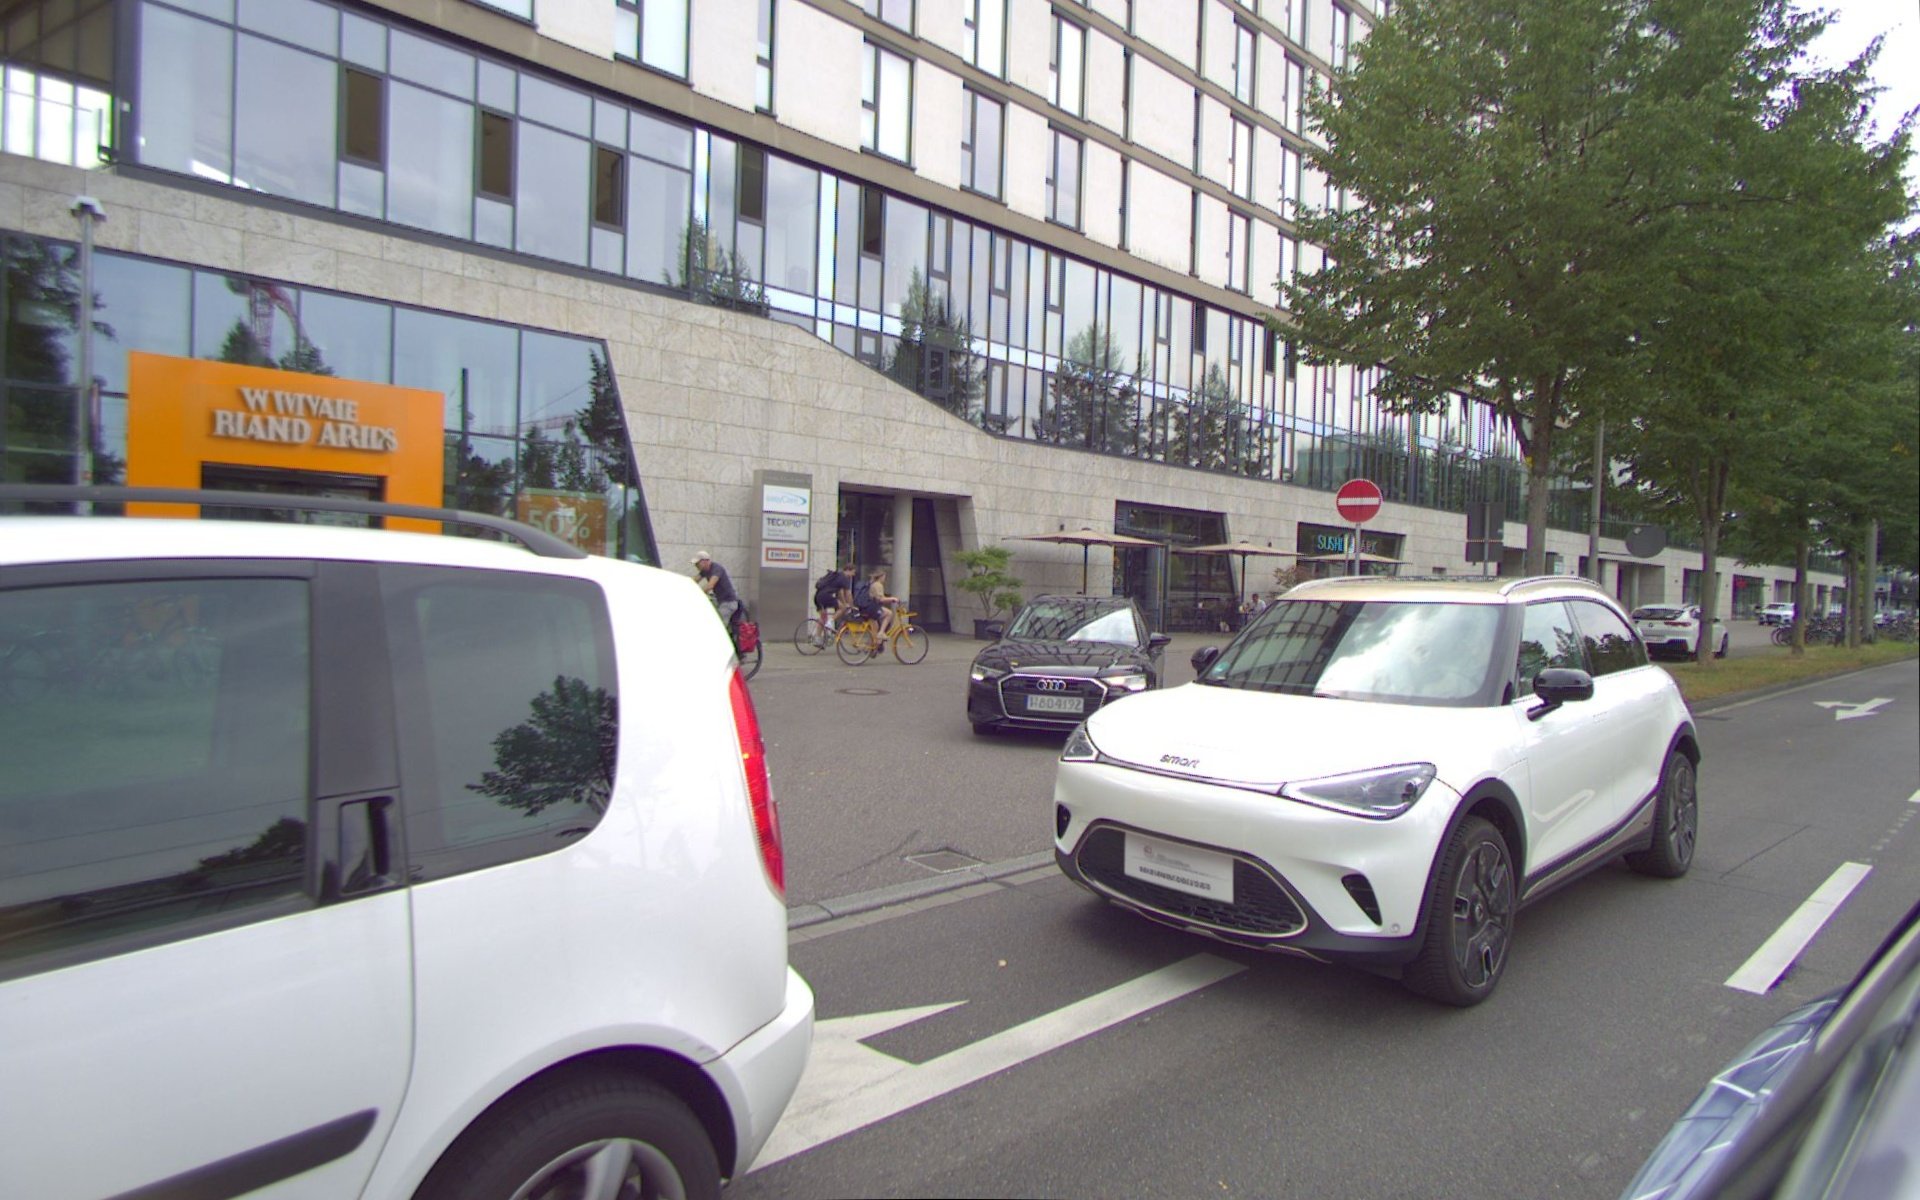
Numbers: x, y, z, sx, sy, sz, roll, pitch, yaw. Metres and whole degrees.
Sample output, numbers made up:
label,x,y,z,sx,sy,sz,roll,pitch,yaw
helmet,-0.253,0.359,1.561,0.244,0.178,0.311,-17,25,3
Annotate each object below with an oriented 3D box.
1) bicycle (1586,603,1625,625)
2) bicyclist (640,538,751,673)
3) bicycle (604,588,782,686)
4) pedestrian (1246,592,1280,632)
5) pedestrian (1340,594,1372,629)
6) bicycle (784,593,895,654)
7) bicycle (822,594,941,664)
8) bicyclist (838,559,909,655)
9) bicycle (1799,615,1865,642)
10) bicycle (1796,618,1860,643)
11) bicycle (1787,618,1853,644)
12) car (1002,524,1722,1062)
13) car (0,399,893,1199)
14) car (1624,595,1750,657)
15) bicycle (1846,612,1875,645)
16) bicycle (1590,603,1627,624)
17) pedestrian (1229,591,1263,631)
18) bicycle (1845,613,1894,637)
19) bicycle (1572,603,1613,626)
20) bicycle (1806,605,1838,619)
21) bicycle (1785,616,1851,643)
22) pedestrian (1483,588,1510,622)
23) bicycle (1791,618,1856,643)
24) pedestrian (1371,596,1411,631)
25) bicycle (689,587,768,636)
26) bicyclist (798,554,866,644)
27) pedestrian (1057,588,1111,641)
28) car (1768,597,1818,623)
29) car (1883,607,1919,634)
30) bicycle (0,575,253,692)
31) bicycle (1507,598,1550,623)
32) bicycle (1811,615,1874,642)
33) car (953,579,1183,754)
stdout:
label,x,y,z,sx,sy,sz,roll,pitch,yaw
bicycle,32.916,0.722,51.619,0.524,1.039,1.599,1,2,-43
bicyclist,-3.708,0.061,14.167,1.110,1.758,0.999,1,4,-42
bicycle,-3.696,0.484,14.157,2.229,1.250,0.903,1,1,-42
pedestrian,9.598,0.380,32.029,0.745,1.207,0.720,1,1,-39
pedestrian,13.923,0.408,35.605,0.743,1.207,0.723,1,1,-19
bicycle,-2.227,0.426,18.843,1.971,1.054,0.675,1,3,-39
bicycle,-1.366,0.502,17.794,1.968,1.157,0.676,1,1,-33
bicyclist,-1.515,0.106,17.665,0.970,1.601,0.727,1,2,-33
bicycle,35.024,1.155,40.671,0.693,1.079,1.931,1,-2,-43
bicycle,34.506,1.207,40.230,0.602,0.963,1.862,1,-2,-43
bicycle,33.378,1.208,39.296,0.493,0.963,1.862,1,-2,-43
car,2.259,0.619,5.145,3.952,1.678,1.782,1,-1,-41
car,-2.227,0.560,1.496,3.952,1.677,1.782,1,1,-41
car,20.585,0.698,28.581,4.514,1.571,1.941,1,1,-42
bicycle,31.892,1.008,35.858,0.709,1.130,2.170,-2,-2,41
bicycle,33.900,0.710,52.878,0.524,1.039,1.531,1,1,-43
pedestrian,8.871,0.329,31.405,0.745,1.207,0.720,1,1,-41
bicycle,42.281,1.162,47.048,0.516,1.104,1.669,1,-2,-43
bicycle,31.389,0.703,50.218,0.524,1.039,1.599,1,2,-43
bicycle,80.710,1.140,94.767,2.231,1.191,0.961,2,1,43
bicycle,32.902,1.136,38.847,0.564,1.008,1.862,1,-2,-43
pedestrian,23.004,0.228,43.411,0.707,1.424,0.759,1,1,-33
bicycle,33.936,1.208,39.775,0.642,0.963,1.862,1,-2,-43
pedestrian,15.314,0.483,35.970,1.083,1.207,0.776,1,1,-26
bicycle,-4.627,0.226,20.280,1.466,0.921,0.519,1,1,-41
bicyclist,-2.367,-0.023,18.757,0.972,1.601,0.726,0,3,-39
pedestrian,3.065,0.354,25.089,0.932,1.243,0.901,1,1,-36
car,56.454,0.669,68.536,4.165,1.607,1.862,1,4,-41
car,54.952,1.185,58.578,4.109,1.439,1.763,1,1,-41
bicycle,-7.780,0.282,9.247,0.630,0.968,2.074,2,1,44
bicycle,25.755,0.466,45.844,1.585,1.039,0.606,3,1,23
bicycle,36.579,1.188,41.982,1.927,1.079,0.535,-2,-2,41
car,1.467,0.553,11.555,1.919,1.494,4.849,2,1,14
